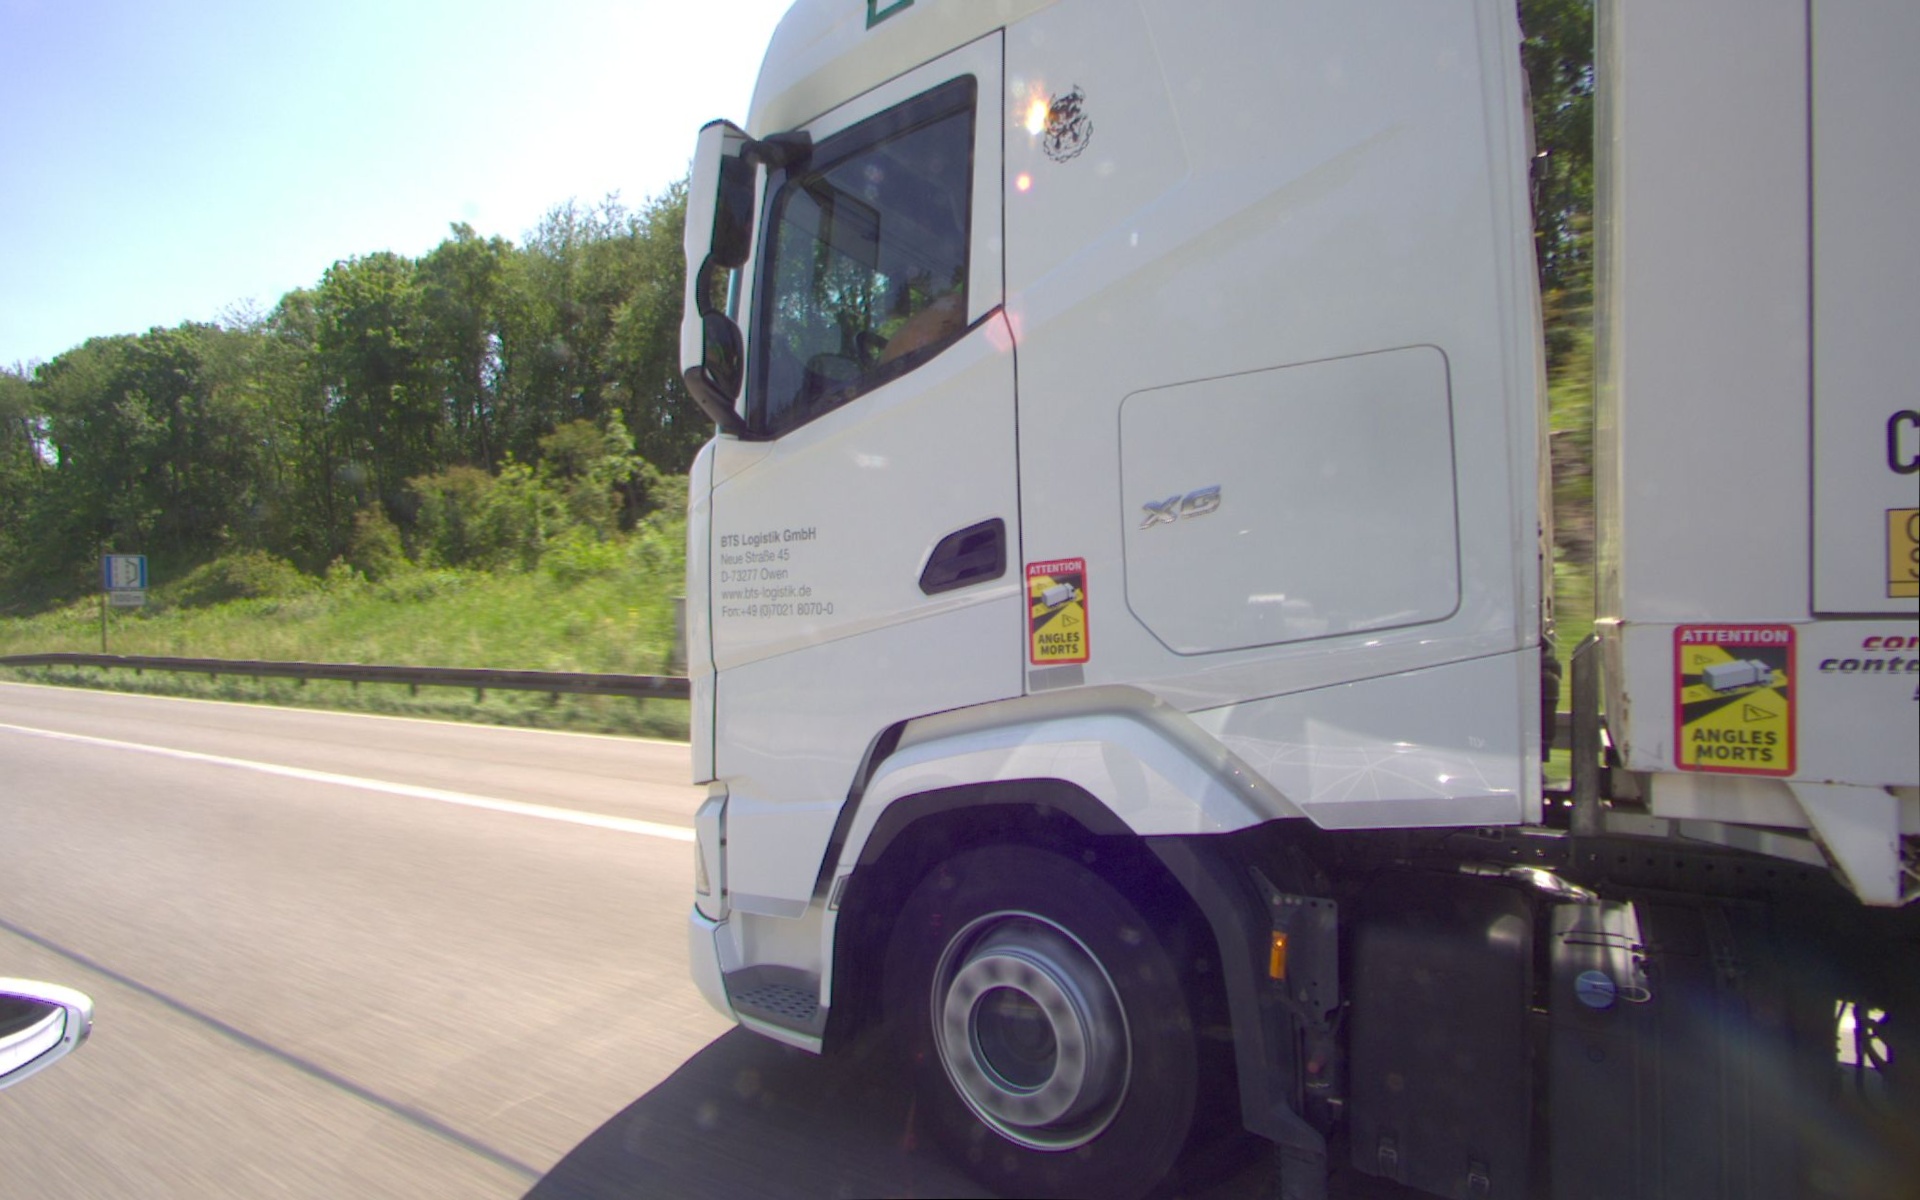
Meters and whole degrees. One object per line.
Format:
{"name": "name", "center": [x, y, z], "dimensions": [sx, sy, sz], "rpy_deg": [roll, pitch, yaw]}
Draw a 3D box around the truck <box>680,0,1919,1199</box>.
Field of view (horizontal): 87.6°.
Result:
{"name": "truck", "center": [4.304, -0.658, 1.296], "dimensions": [10.472, 4.113, 2.675], "rpy_deg": [1, 0, 33]}
